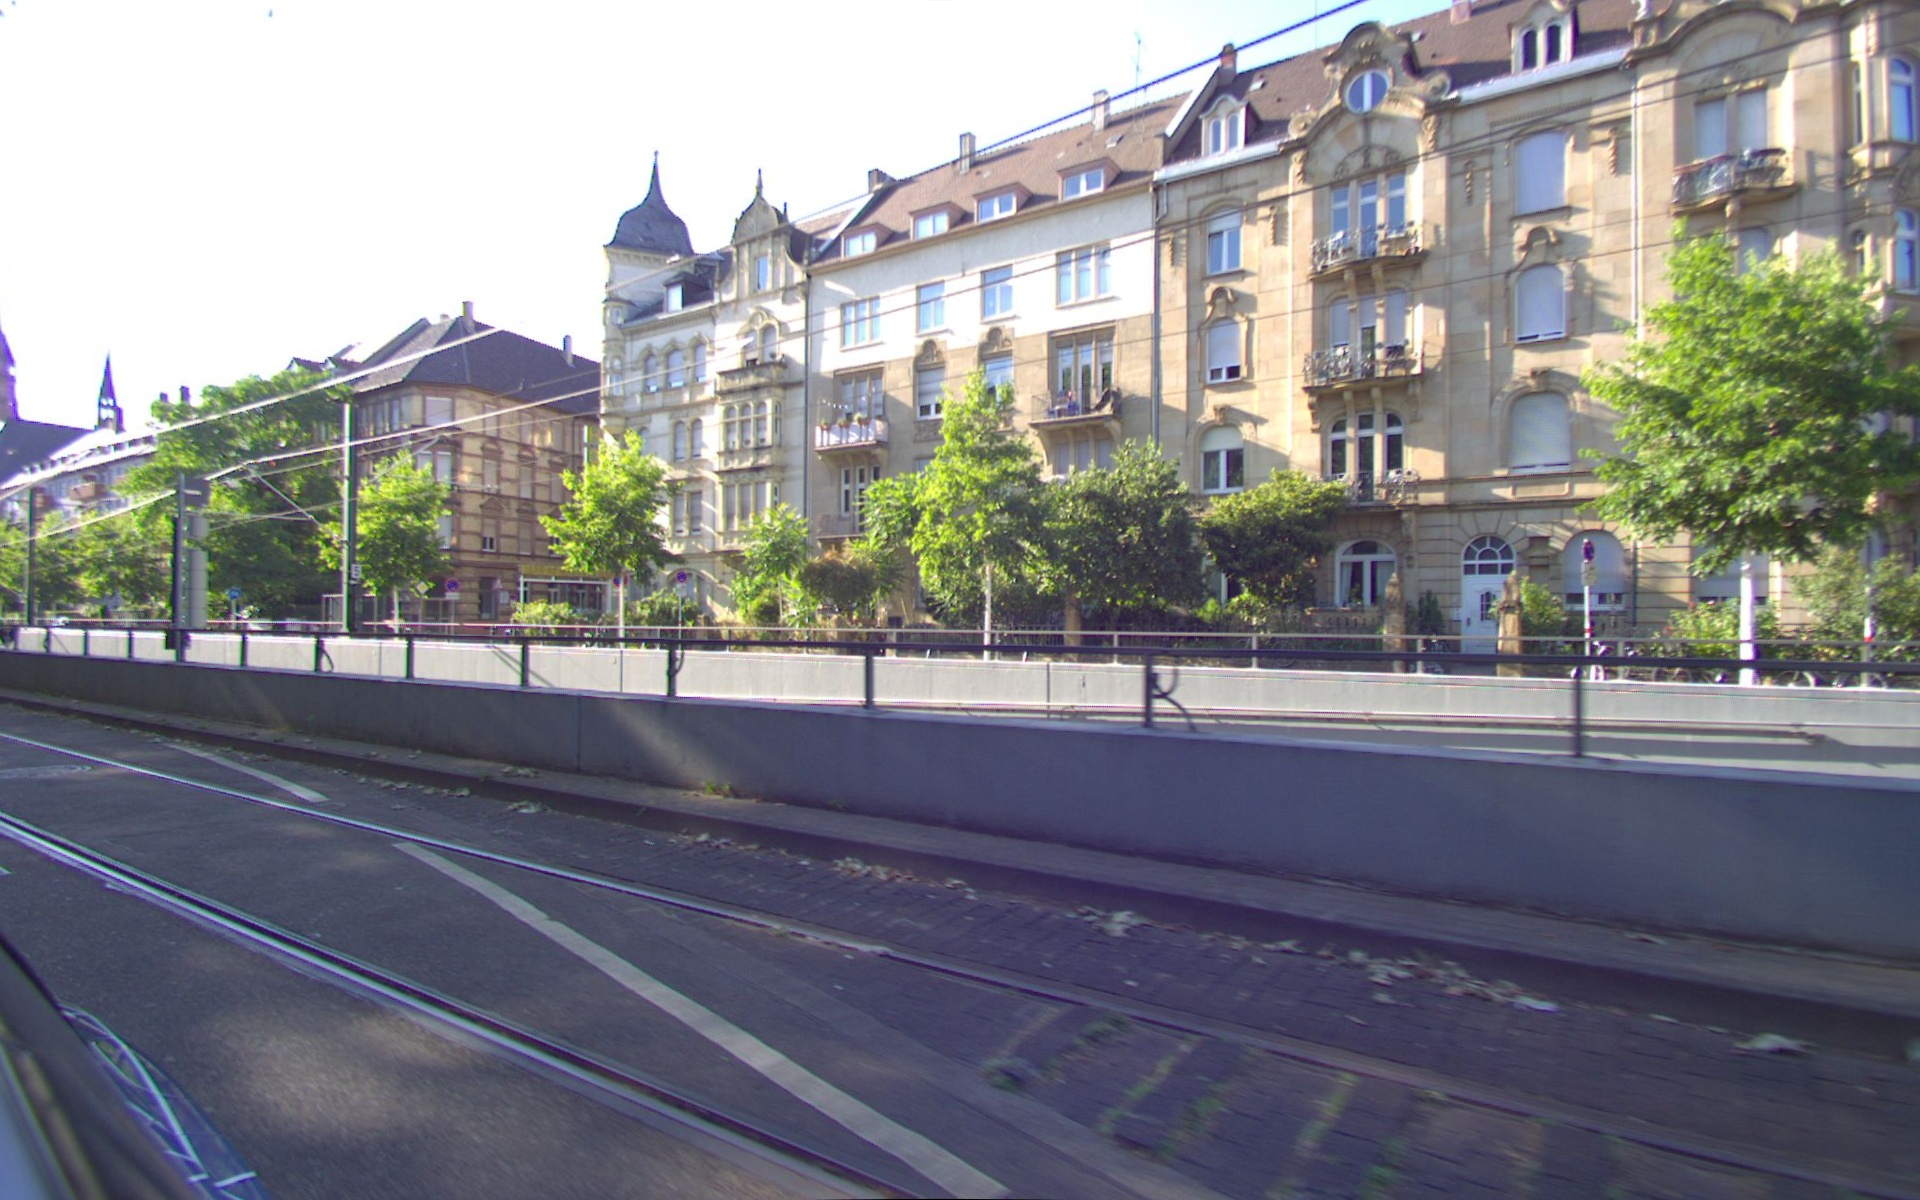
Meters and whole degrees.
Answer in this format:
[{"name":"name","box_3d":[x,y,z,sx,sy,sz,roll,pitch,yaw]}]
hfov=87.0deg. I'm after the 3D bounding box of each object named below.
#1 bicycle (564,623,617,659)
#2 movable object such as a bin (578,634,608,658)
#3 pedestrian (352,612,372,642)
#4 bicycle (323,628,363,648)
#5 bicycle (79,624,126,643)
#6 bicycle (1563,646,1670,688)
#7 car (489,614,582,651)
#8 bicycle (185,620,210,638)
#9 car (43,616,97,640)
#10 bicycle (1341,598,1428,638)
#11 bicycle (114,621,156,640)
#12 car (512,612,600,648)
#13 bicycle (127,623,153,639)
[{"name":"bicycle","box_3d":[-13.358,1.469,36.616,0.599,1.289,1.713,-1,-1,40]},{"name":"movable object such as a bin","box_3d":[-15.419,1.912,42.484,0.780,0.926,0.891,-1,1,29]},{"name":"pedestrian","box_3d":[-34.787,1.590,58.841,0.864,1.701,0.711,-1,1,40]},{"name":"bicycle","box_3d":[-33.315,2.056,54.660,1.919,1.012,0.455,2,1,4]},{"name":"bicycle","box_3d":[-55.824,2.171,65.908,0.634,1.107,2.785,-1,1,2]},{"name":"bicycle","box_3d":[13.913,1.408,21.479,1.884,0.806,0.412,-1,1,38]},{"name":"car","box_3d":[-20.449,1.535,48.919,1.815,1.636,3.966,-1,0,25]},{"name":"bicycle","box_3d":[-49.813,1.888,66.110,2.370,1.107,0.550,-1,1,35]},{"name":"car","box_3d":[-62.103,1.944,70.618,3.988,1.597,1.818,-1,1,33]},{"name":"bicycle","box_3d":[11.477,0.480,27.429,2.109,1.026,0.500,-1,1,39]},{"name":"bicycle","box_3d":[-51.934,1.915,63.702,0.550,1.107,2.373,-1,1,4]},{"name":"car","box_3d":[-22.440,1.664,56.238,4.451,1.863,1.985,-1,1,23]},{"name":"bicycle","box_3d":[-51.376,1.943,63.431,0.532,0.912,1.267,-1,1,4]}]
